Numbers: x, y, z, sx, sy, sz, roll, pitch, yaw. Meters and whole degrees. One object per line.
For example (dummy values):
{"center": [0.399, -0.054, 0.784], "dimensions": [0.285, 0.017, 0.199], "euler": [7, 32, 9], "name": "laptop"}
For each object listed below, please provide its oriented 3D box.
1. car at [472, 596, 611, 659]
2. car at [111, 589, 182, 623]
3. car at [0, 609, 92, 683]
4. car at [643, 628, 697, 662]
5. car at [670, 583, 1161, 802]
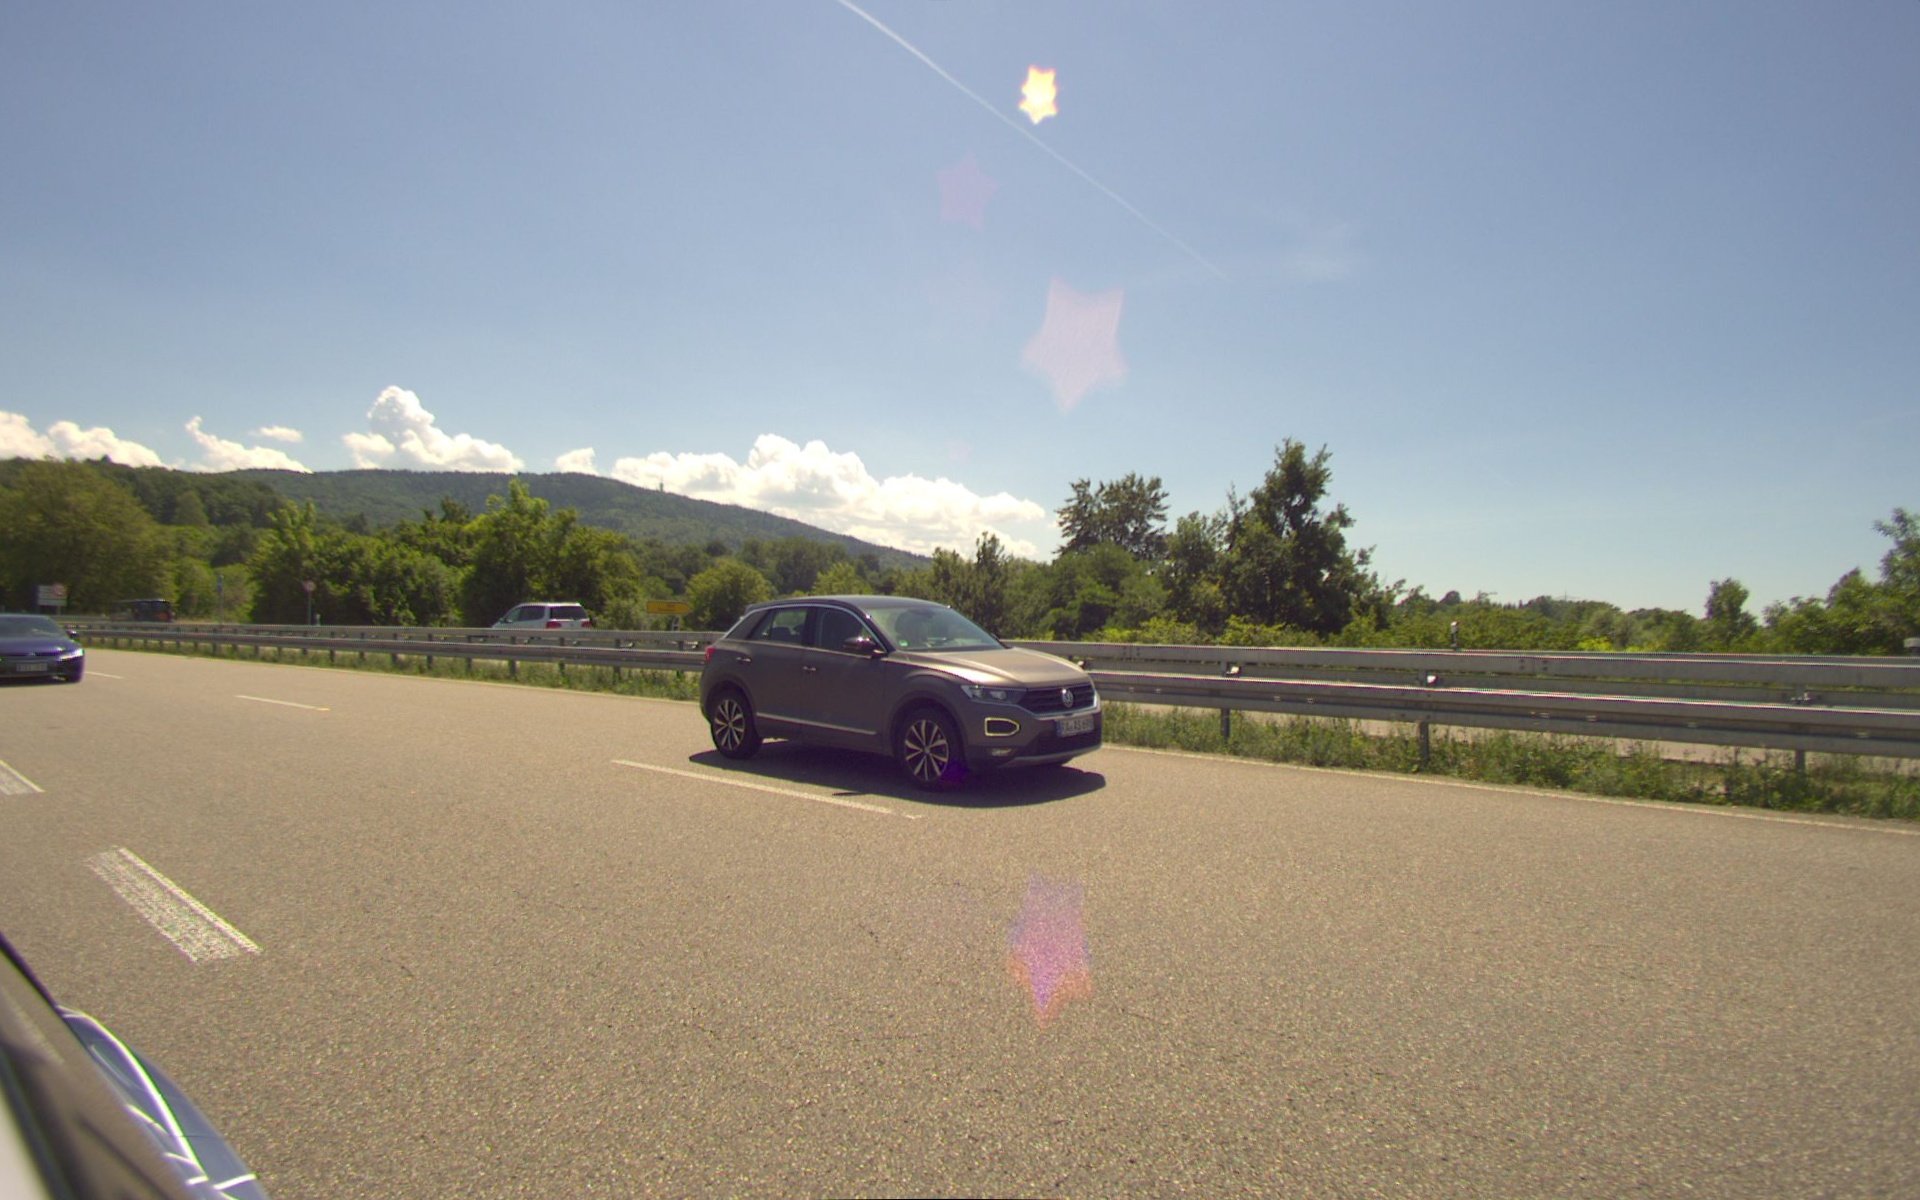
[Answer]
{"center": [-14.215, 0.880, 34.278], "dimensions": [4.905, 1.907, 2.183], "euler": [1, 0, 38], "name": "car"}
{"center": [-49.079, 0.371, 61.028], "dimensions": [4.904, 1.907, 2.184], "euler": [1, 0, 37], "name": "car"}
{"center": [-20.091, 0.922, 21.440], "dimensions": [4.465, 1.418, 1.823], "euler": [-1, 0, 39], "name": "car"}
{"center": [-18.300, 2.783, 63.749], "dimensions": [2.173, 1.907, 4.928], "euler": [1, 0, -29], "name": "car"}
{"center": [-0.591, 0.661, 9.273], "dimensions": [4.467, 1.541, 1.822], "euler": [-1, 0, 41], "name": "car"}
